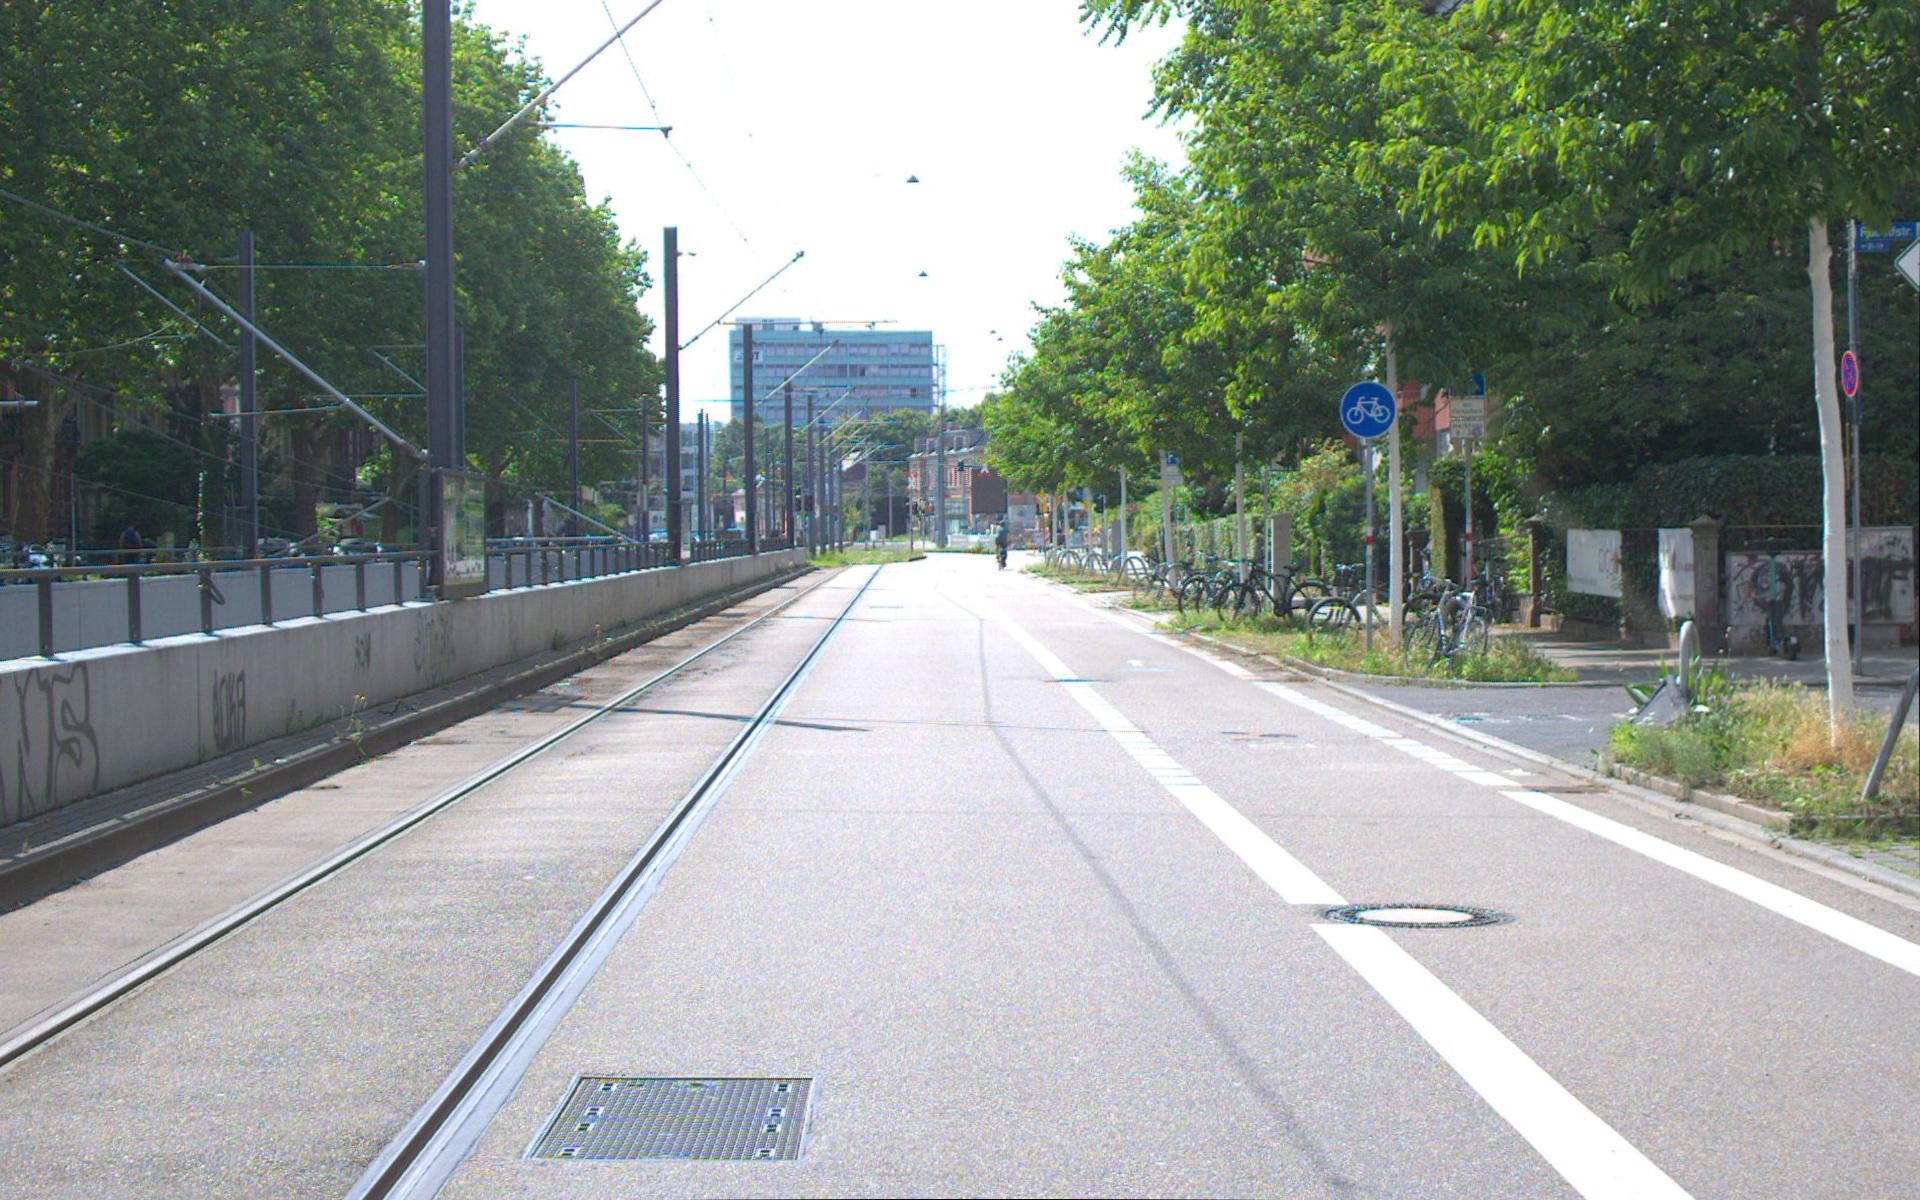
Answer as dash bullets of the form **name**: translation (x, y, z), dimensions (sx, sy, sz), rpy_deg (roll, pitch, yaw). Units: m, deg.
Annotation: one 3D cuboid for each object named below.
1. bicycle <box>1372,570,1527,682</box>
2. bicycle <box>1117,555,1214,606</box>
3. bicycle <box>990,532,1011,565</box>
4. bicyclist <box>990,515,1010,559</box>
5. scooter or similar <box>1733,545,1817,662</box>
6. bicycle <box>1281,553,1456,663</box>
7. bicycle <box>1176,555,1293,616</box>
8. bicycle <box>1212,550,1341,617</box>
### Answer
- **bicycle**: translation (4.814, 0.242, 33.930), dimensions (0.649, 1.035, 1.822), rpy_deg (-3, 2, -22)
- **bicycle**: translation (4.052, -0.389, 67.941), dimensions (1.816, 0.899, 0.604), rpy_deg (-3, 2, -4)
- **bicycle**: translation (1.578, -2.017, 134.039), dimensions (0.799, 1.232, 2.778), rpy_deg (0, 1, 0)
- **bicyclist**: translation (1.571, -2.455, 134.011), dimensions (0.770, 1.724, 1.026), rpy_deg (0, 1, 0)
- **scooter or similar**: translation (8.345, 0.023, 35.253), dimensions (0.461, 1.154, 1.573), rpy_deg (-2, 1, 0)
- **bicycle**: translation (4.648, 0.085, 39.103), dimensions (1.815, 1.141, 0.652), rpy_deg (-3, 2, -11)
- **bicycle**: translation (4.518, -0.239, 56.678), dimensions (1.816, 0.899, 0.604), rpy_deg (-3, 2, -4)
- **bicycle**: translation (4.762, -0.251, 51.742), dimensions (1.816, 0.899, 0.652), rpy_deg (-3, 2, -4)
